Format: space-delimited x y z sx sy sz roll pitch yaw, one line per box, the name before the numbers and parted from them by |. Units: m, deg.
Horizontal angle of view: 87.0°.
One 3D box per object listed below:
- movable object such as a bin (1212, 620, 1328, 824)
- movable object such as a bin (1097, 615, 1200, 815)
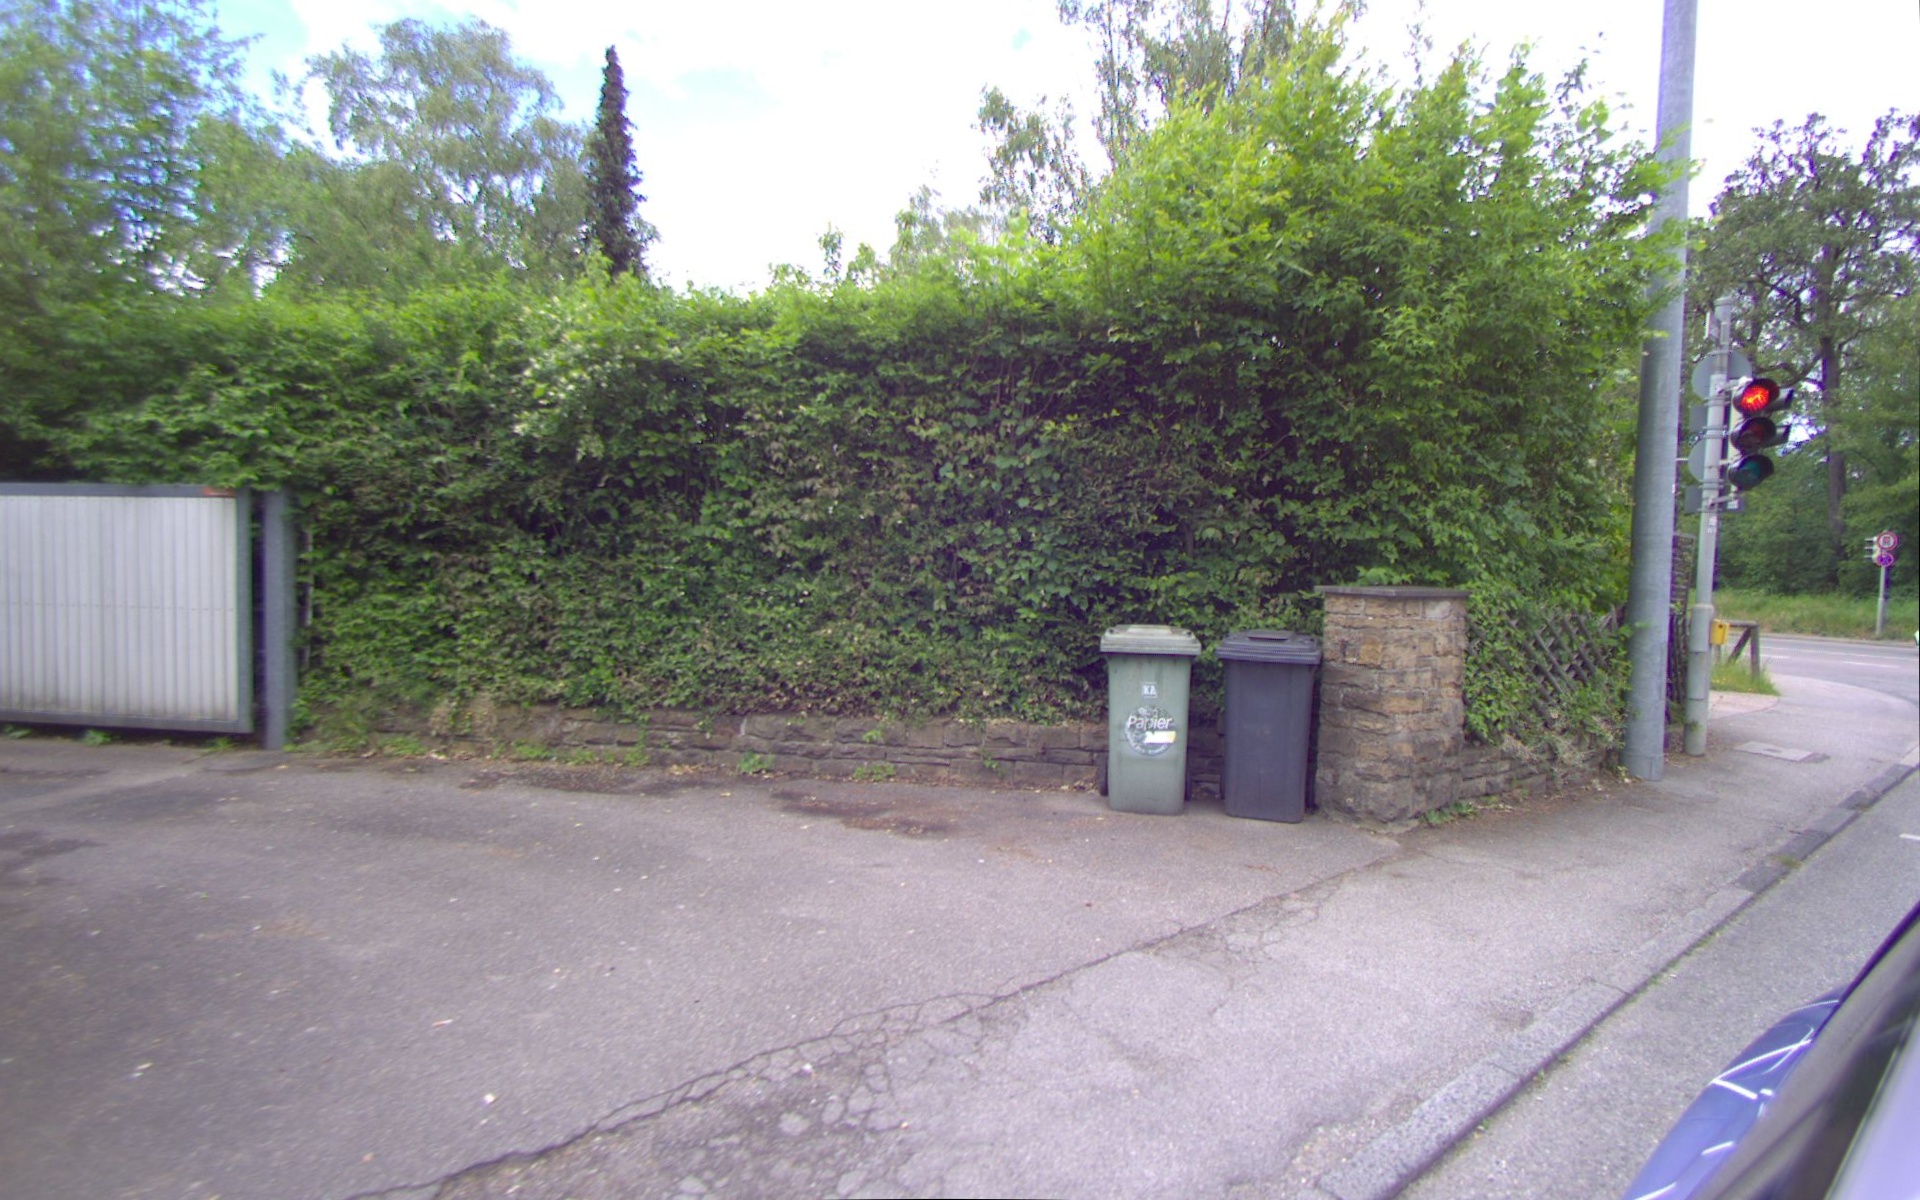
movable object such as a bin | 1.802 0.673 5.859 0.534 1.058 0.505 4 2 23
movable object such as a bin | 1.114 0.648 5.961 0.532 1.075 0.507 2 1 12
